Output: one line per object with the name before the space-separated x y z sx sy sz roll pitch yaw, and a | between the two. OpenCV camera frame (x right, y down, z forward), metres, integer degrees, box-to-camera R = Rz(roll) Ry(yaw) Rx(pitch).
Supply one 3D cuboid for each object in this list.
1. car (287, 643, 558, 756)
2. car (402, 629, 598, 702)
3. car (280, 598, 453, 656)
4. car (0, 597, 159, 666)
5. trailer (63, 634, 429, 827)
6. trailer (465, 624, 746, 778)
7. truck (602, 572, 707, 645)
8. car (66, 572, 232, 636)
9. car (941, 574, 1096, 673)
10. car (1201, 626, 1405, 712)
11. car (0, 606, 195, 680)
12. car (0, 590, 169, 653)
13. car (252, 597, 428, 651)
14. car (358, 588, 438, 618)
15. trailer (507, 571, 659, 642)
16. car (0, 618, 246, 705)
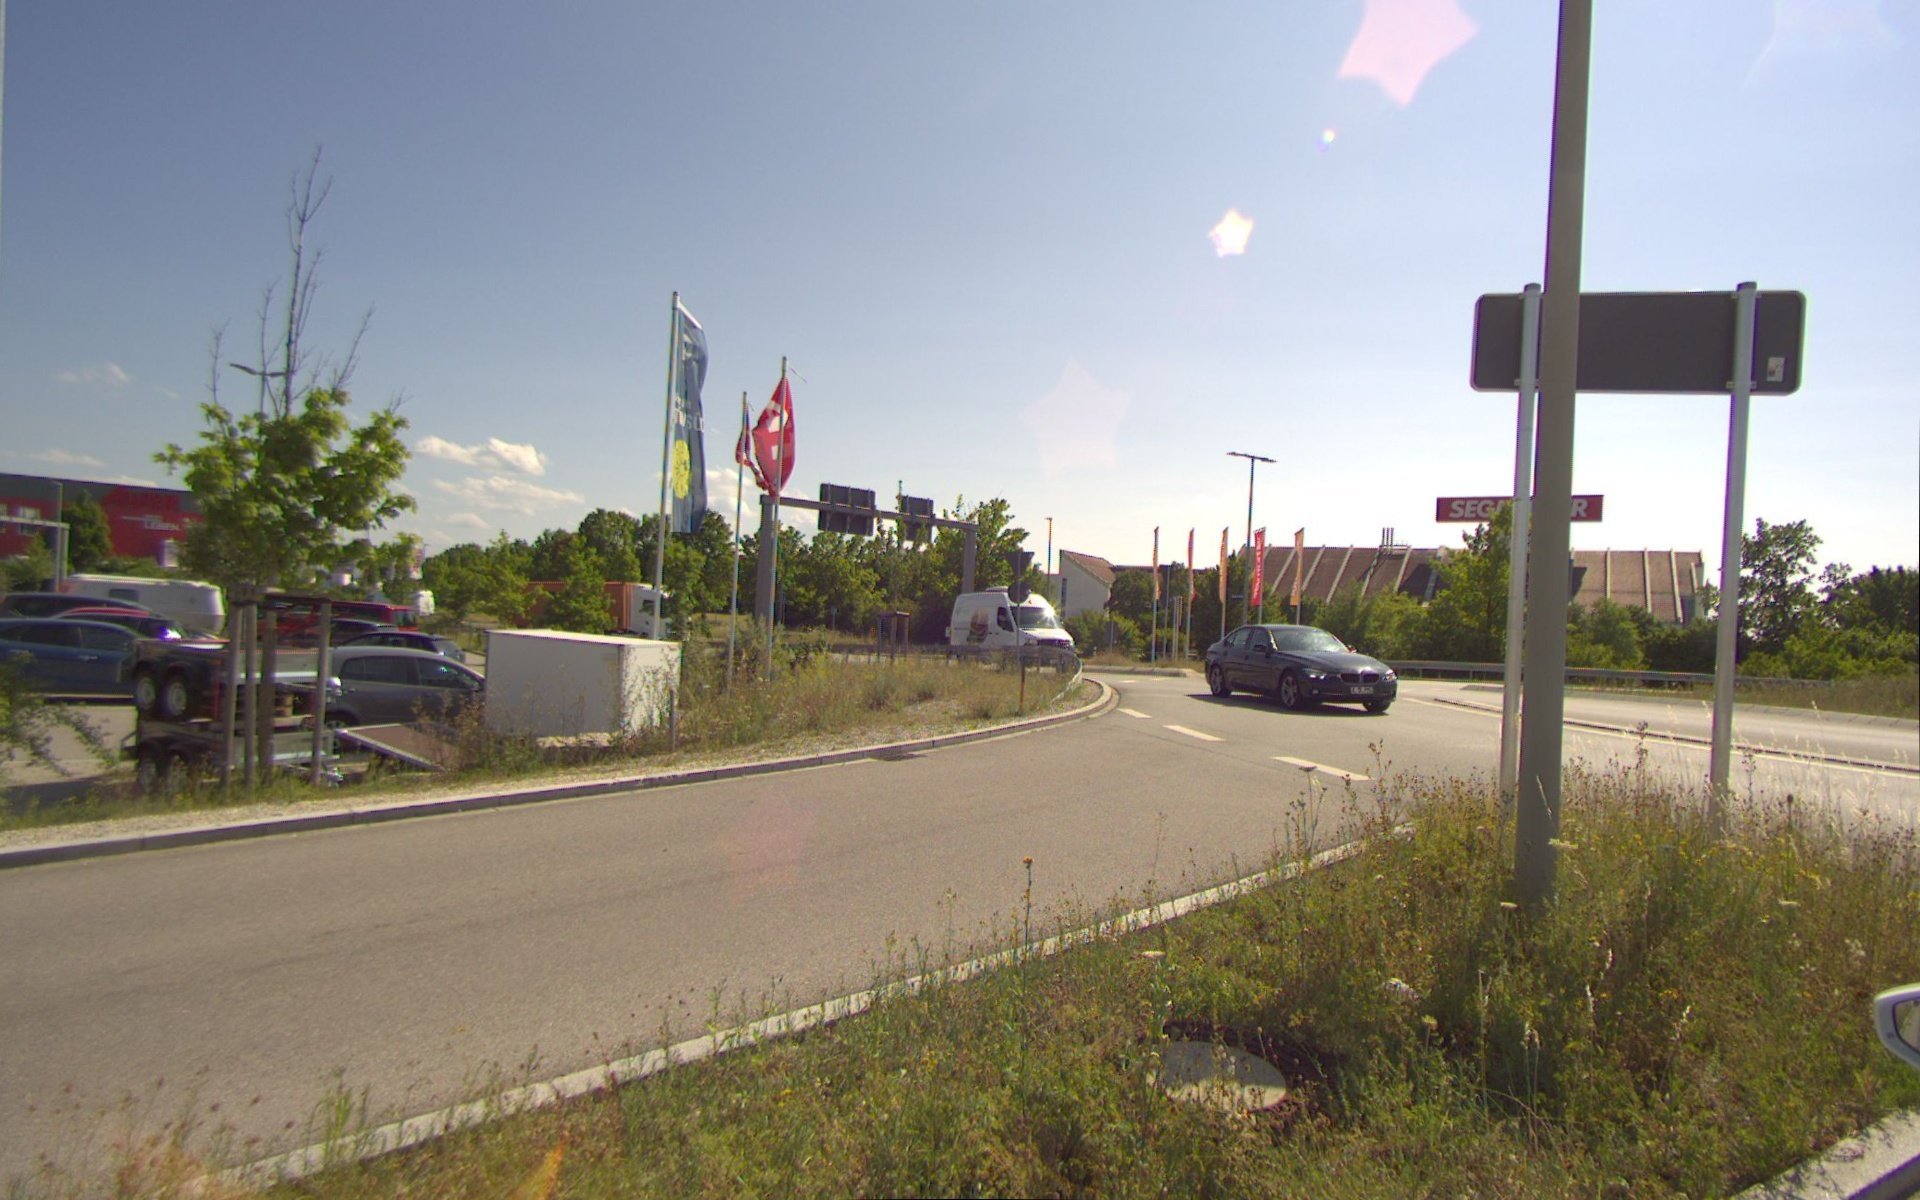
car | -8.879 1.568 16.707 3.711 1.572 1.725 2 0 -38
car | -11.318 1.601 24.929 3.924 1.483 1.824 4 -2 -5
car | -17.409 0.781 29.601 3.924 1.483 1.824 3 0 -5
car | -21.531 0.735 23.701 3.961 1.483 1.807 2 0 -35
trailer | -8.505 1.424 12.020 3.624 1.795 1.807 3 0 20
trailer | -5.336 1.417 15.203 3.624 1.795 1.807 4 1 20
truck | -18.716 0.492 61.381 6.325 4.161 2.655 2 0 34
car | -27.817 0.158 34.595 4.313 2.040 1.882 2 0 -40
car | 1.779 0.679 33.268 2.060 2.960 6.089 2 0 -30
car | 5.990 1.175 18.024 1.648 1.198 3.855 2 0 -13
car | -19.609 0.950 22.367 3.961 1.483 1.807 2 0 -35
car | -22.795 0.547 25.618 3.961 1.483 1.807 2 0 -35
car | -19.709 0.754 32.098 4.370 1.483 1.824 3 0 -5
car | -48.433 0.235 86.594 6.147 2.264 2.041 3 0 11
trailer | -24.735 0.308 65.472 12.151 4.209 2.554 2 -1 34
car | -15.842 1.103 18.735 3.968 1.483 1.804 2 -2 -40
